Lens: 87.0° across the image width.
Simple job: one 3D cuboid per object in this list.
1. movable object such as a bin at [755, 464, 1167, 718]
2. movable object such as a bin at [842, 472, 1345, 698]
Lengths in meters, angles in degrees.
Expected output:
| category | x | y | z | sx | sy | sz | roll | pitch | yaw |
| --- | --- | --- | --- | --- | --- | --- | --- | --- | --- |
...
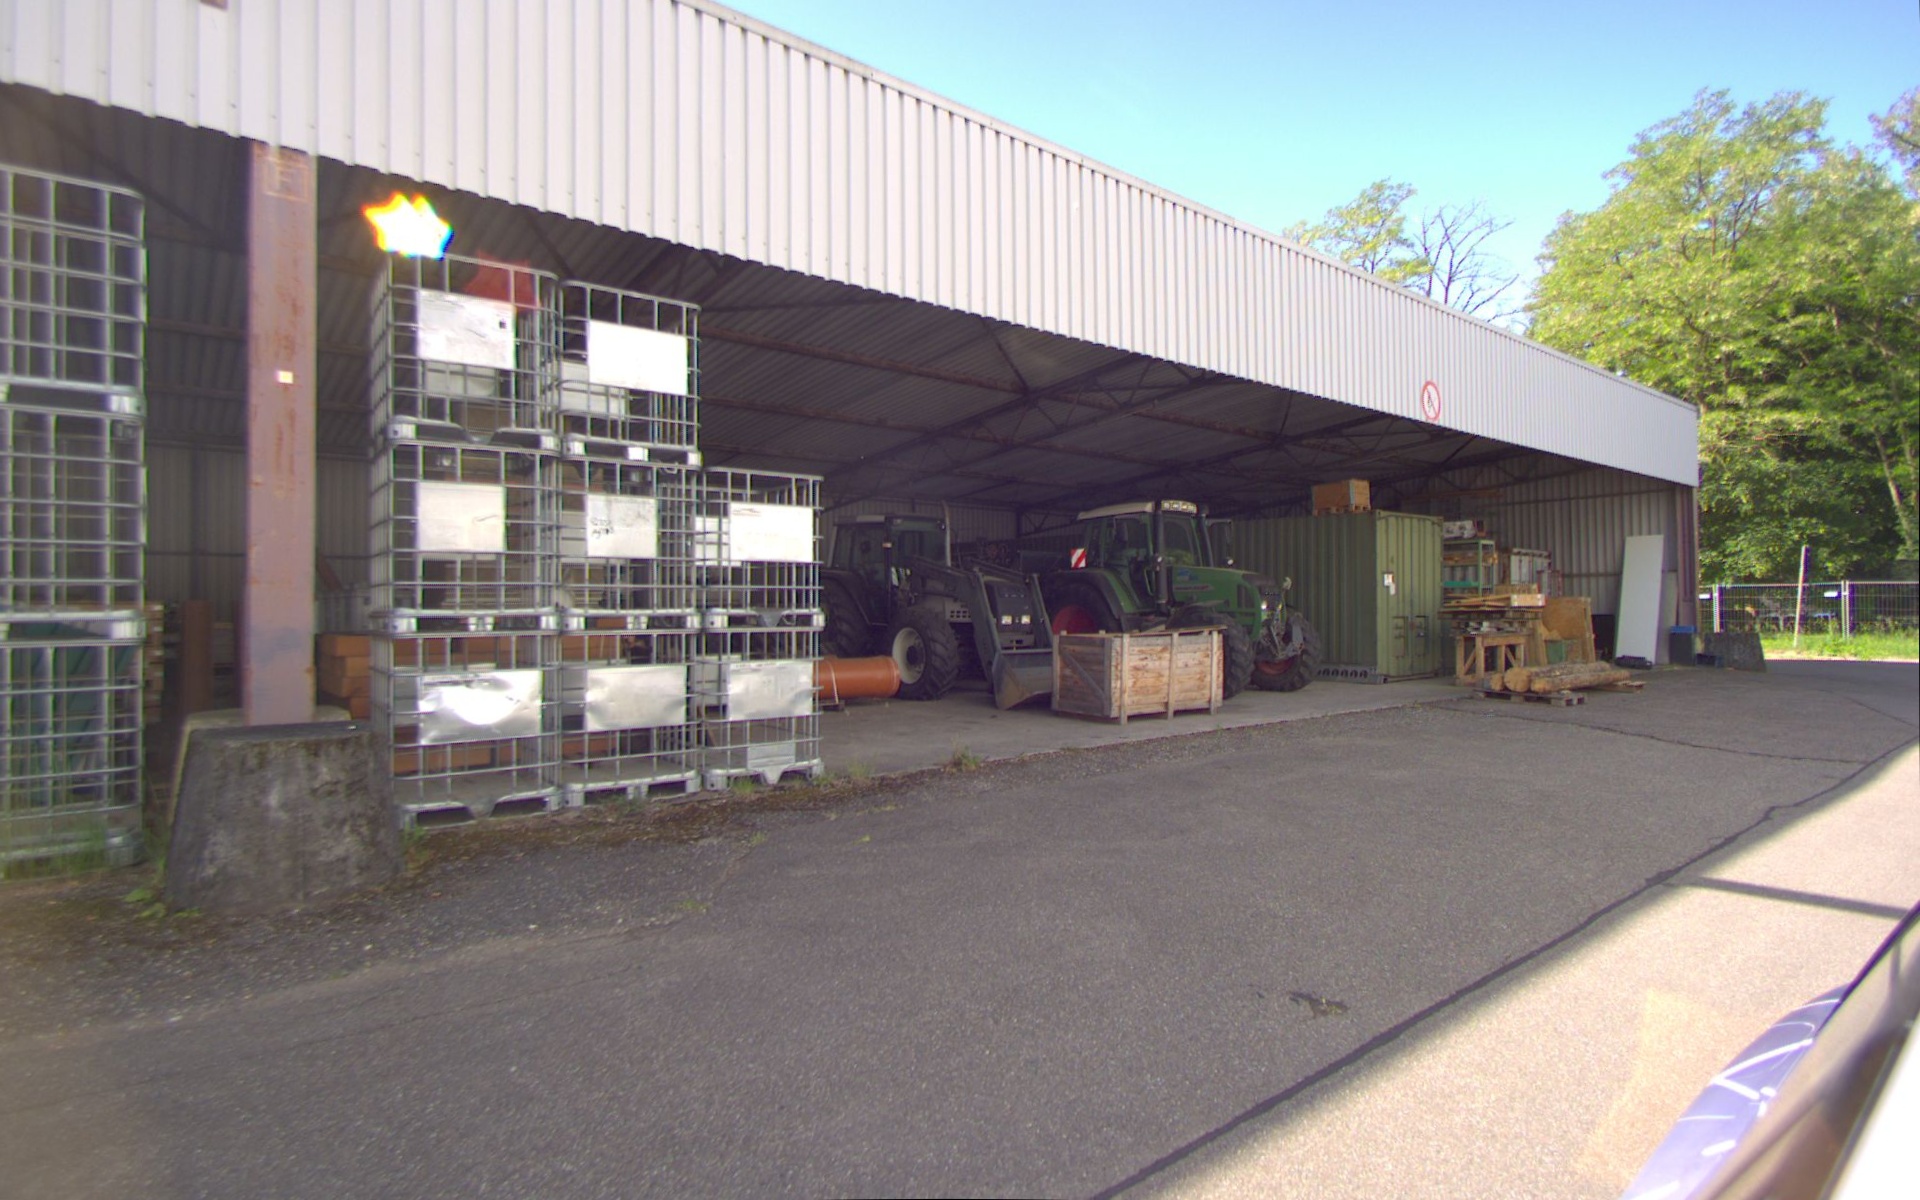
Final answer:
| category | x | y | z | sx | sy | sz | roll | pitch | yaw |
| --- | --- | --- | --- | --- | --- | --- | --- | --- | --- |
| movable object such as a bin | -0.304 | -0.054 | 15.111 | 2.961 | 2.947 | 6.199 | 0 | -1 | -38 |
| movable object such as a bin | 1.684 | -0.119 | 17.822 | 3.153 | 2.947 | 9.213 | 0 | -1 | -38 |
